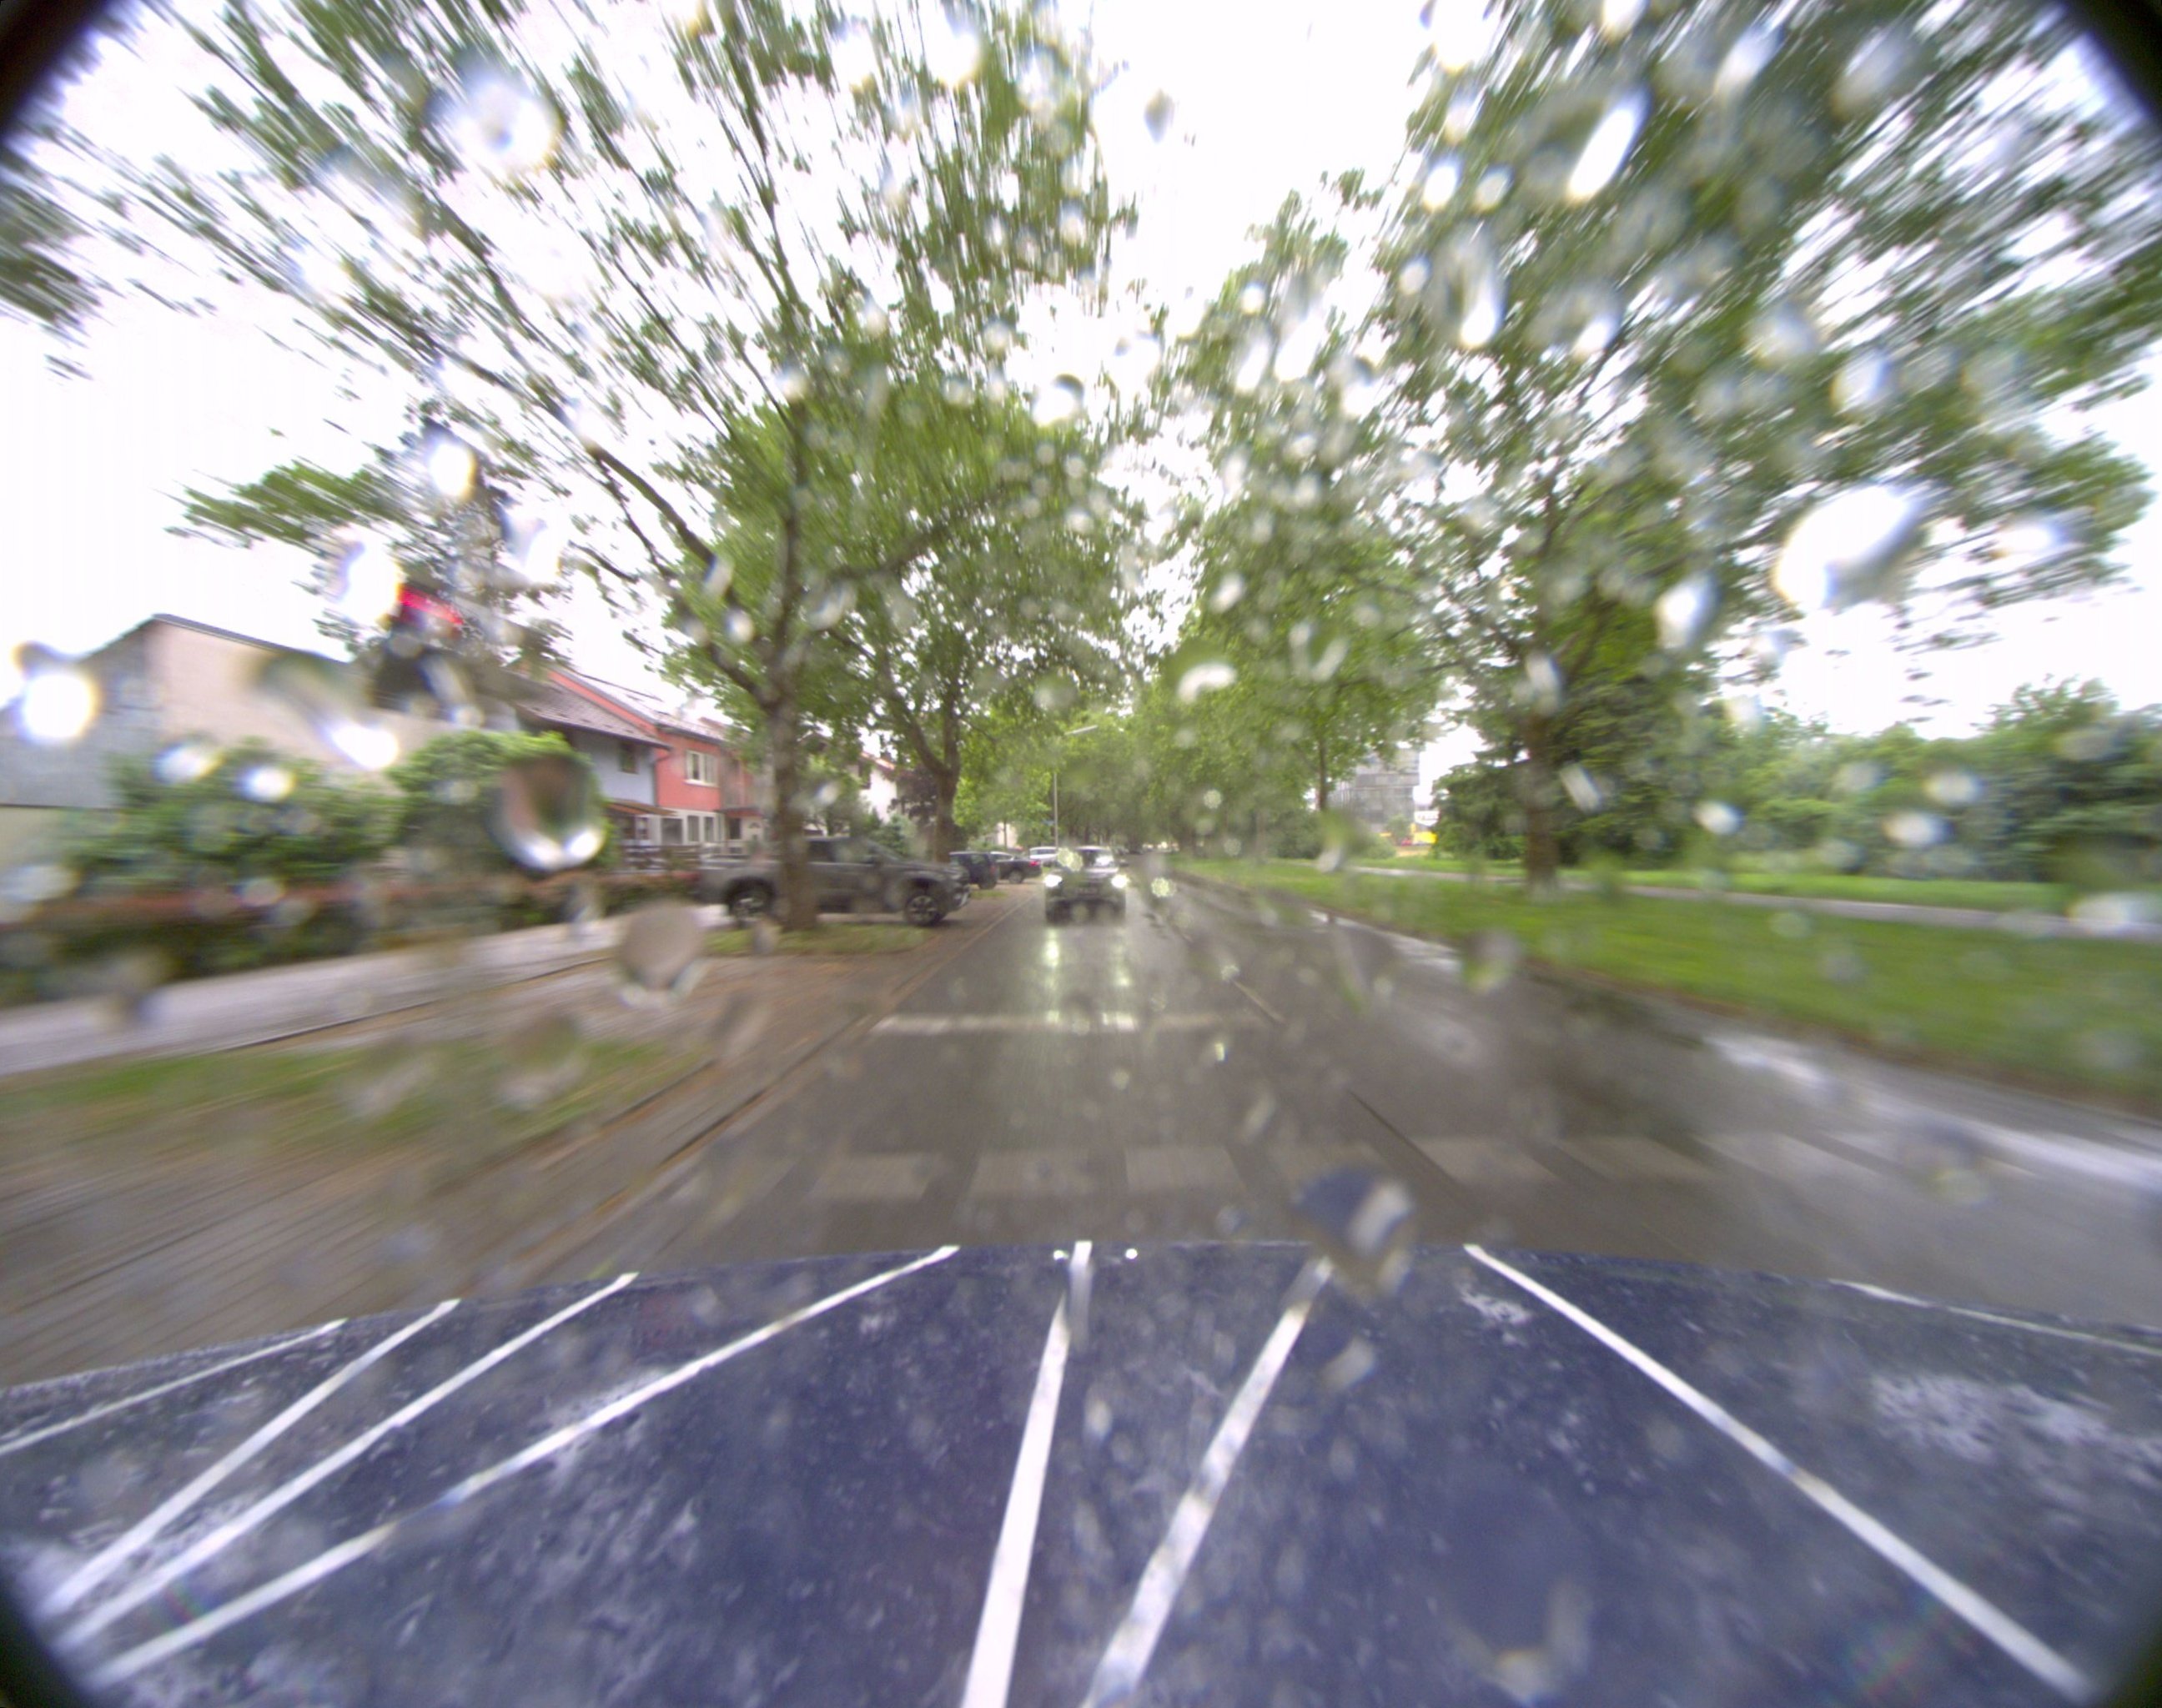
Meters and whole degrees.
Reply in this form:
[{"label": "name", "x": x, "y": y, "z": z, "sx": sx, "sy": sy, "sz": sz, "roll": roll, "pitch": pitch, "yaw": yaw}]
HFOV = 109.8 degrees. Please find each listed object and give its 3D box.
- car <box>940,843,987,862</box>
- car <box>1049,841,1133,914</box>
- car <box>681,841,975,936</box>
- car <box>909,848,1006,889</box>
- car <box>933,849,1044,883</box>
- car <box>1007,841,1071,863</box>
[{"label": "car", "x": -10.555, "y": -0.126, "z": 68.506, "sx": 3.853, "sy": 1.603, "sz": 1.843, "roll": 0, "pitch": 1, "yaw": 4}, {"label": "car", "x": 0.344, "y": 0.511, "z": 19.180, "sx": 1.862, "sy": 1.608, "sz": 4.424, "roll": 0, "pitch": 1, "yaw": 3}, {"label": "car", "x": -4.927, "y": 0.638, "z": 15.453, "sx": 5.353, "sy": 1.796, "sz": 1.844, "roll": 0, "pitch": 1, "yaw": -4}, {"label": "car", "x": -4.645, "y": 0.523, "z": 28.850, "sx": 3.363, "sy": 1.455, "sz": 1.619, "roll": -1, "pitch": 1, "yaw": 2}, {"label": "car", "x": -4.064, "y": 0.520, "z": 33.975, "sx": 4.779, "sy": 1.464, "sz": 1.937, "roll": 0, "pitch": 1, "yaw": -2}, {"label": "car", "x": -3.169, "y": -0.145, "z": 58.064, "sx": 4.700, "sy": 1.651, "sz": 1.976, "roll": 0, "pitch": 1, "yaw": 1}]
